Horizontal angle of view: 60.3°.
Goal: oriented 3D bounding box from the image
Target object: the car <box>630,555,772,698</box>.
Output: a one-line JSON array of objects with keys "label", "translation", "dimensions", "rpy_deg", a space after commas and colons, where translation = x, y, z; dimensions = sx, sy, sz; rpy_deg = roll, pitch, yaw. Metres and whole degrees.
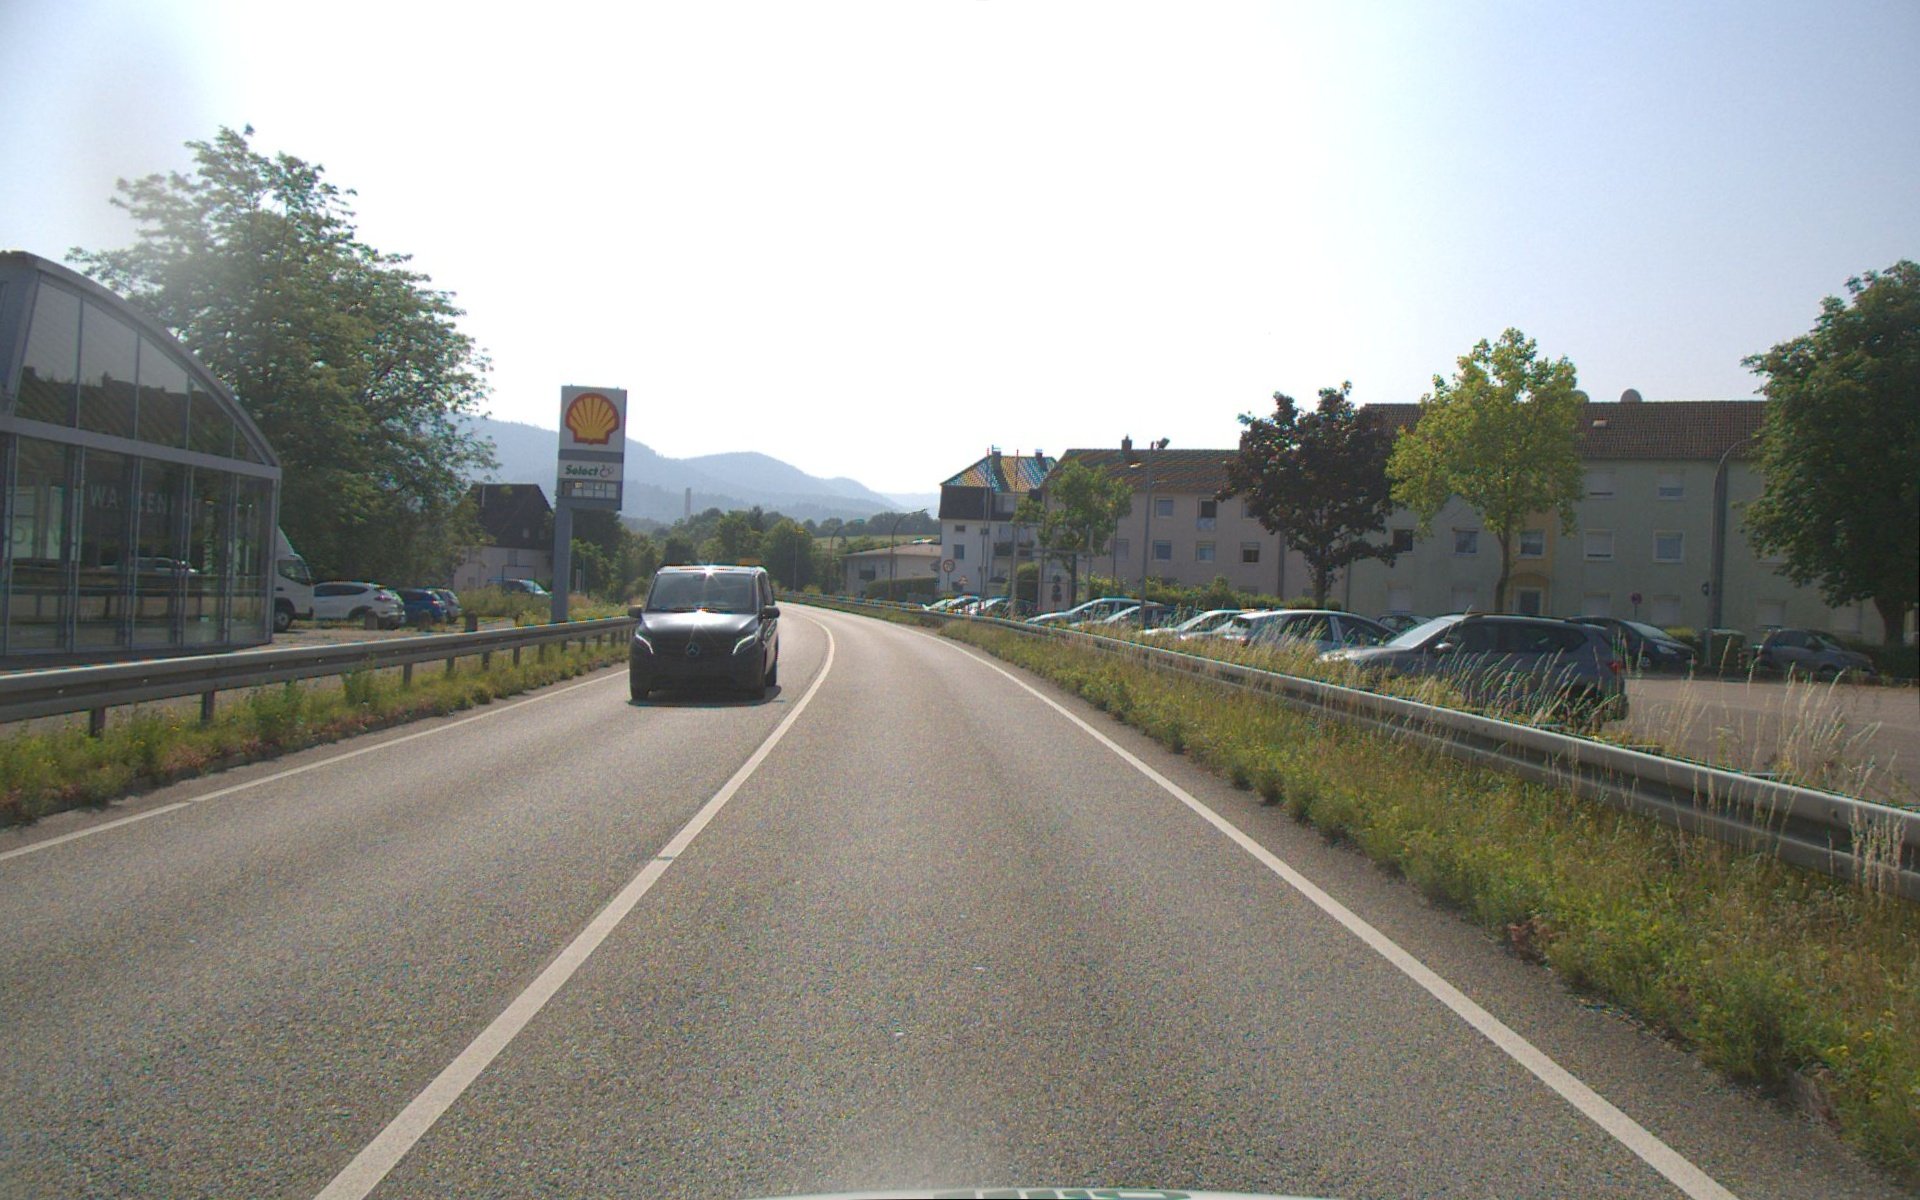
[{"label": "car", "translation": [-3.768, 0.348, 24.720], "dimensions": [1.878, 1.918, 4.903], "rpy_deg": [0, 0, -7]}]

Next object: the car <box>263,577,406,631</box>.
[{"label": "car", "translation": [-21.746, 0.145, 57.639], "dimensions": [4.270, 1.684, 1.928], "rpy_deg": [2, 0, -9]}]

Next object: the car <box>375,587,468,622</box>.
[{"label": "car", "translation": [-24.431, 0.187, 75.078], "dimensions": [3.676, 1.485, 1.859], "rpy_deg": [1, 0, -7]}]

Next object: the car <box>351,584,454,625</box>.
[{"label": "car", "translation": [-23.227, 0.186, 69.058], "dimensions": [3.676, 1.526, 1.929], "rpy_deg": [2, 0, -7]}]

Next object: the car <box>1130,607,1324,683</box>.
[{"label": "car", "translation": [5.800, 0.960, 36.170], "dimensions": [3.907, 1.548, 1.697], "rpy_deg": [1, 0, -3]}]

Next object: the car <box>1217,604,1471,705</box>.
[{"label": "car", "translation": [6.553, 0.920, 28.496], "dimensions": [3.908, 1.607, 1.777], "rpy_deg": [1, 0, -4]}]

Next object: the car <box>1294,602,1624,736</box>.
[{"label": "car", "translation": [6.724, 0.906, 22.559], "dimensions": [3.907, 1.668, 1.887], "rpy_deg": [1, 0, -3]}]

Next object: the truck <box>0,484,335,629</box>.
[{"label": "truck", "translation": [-21.914, -1.087, 46.015], "dimensions": [2.751, 3.618, 8.178], "rpy_deg": [2, 0, 37]}]

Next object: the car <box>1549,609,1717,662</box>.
[{"label": "car", "translation": [19.852, 1.026, 48.989], "dimensions": [1.885, 1.430, 4.486], "rpy_deg": [1, 0, -27]}]

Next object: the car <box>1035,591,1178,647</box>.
[{"label": "car", "translation": [4.588, 0.593, 52.220], "dimensions": [4.232, 1.668, 2.139], "rpy_deg": [1, 0, -3]}]

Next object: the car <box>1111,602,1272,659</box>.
[{"label": "car", "translation": [6.471, 0.848, 46.459], "dimensions": [4.236, 1.469, 1.627], "rpy_deg": [1, 0, -5]}]

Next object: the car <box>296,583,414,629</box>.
[{"label": "car", "translation": [-22.049, 0.222, 60.415], "dimensions": [3.678, 1.526, 1.928], "rpy_deg": [2, 0, -9]}]

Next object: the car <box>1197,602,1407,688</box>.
[{"label": "car", "translation": [6.801, 0.876, 33.123], "dimensions": [3.769, 1.595, 1.806], "rpy_deg": [1, 0, -3]}]

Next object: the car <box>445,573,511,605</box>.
[{"label": "car", "translation": [-32.391, -0.749, 111.097], "dimensions": [4.816, 2.049, 1.989], "rpy_deg": [2, 0, 41]}]

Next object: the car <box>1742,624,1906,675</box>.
[{"label": "car", "translation": [22.763, 1.288, 43.719], "dimensions": [1.570, 1.207, 3.631], "rpy_deg": [1, 0, -27]}]
